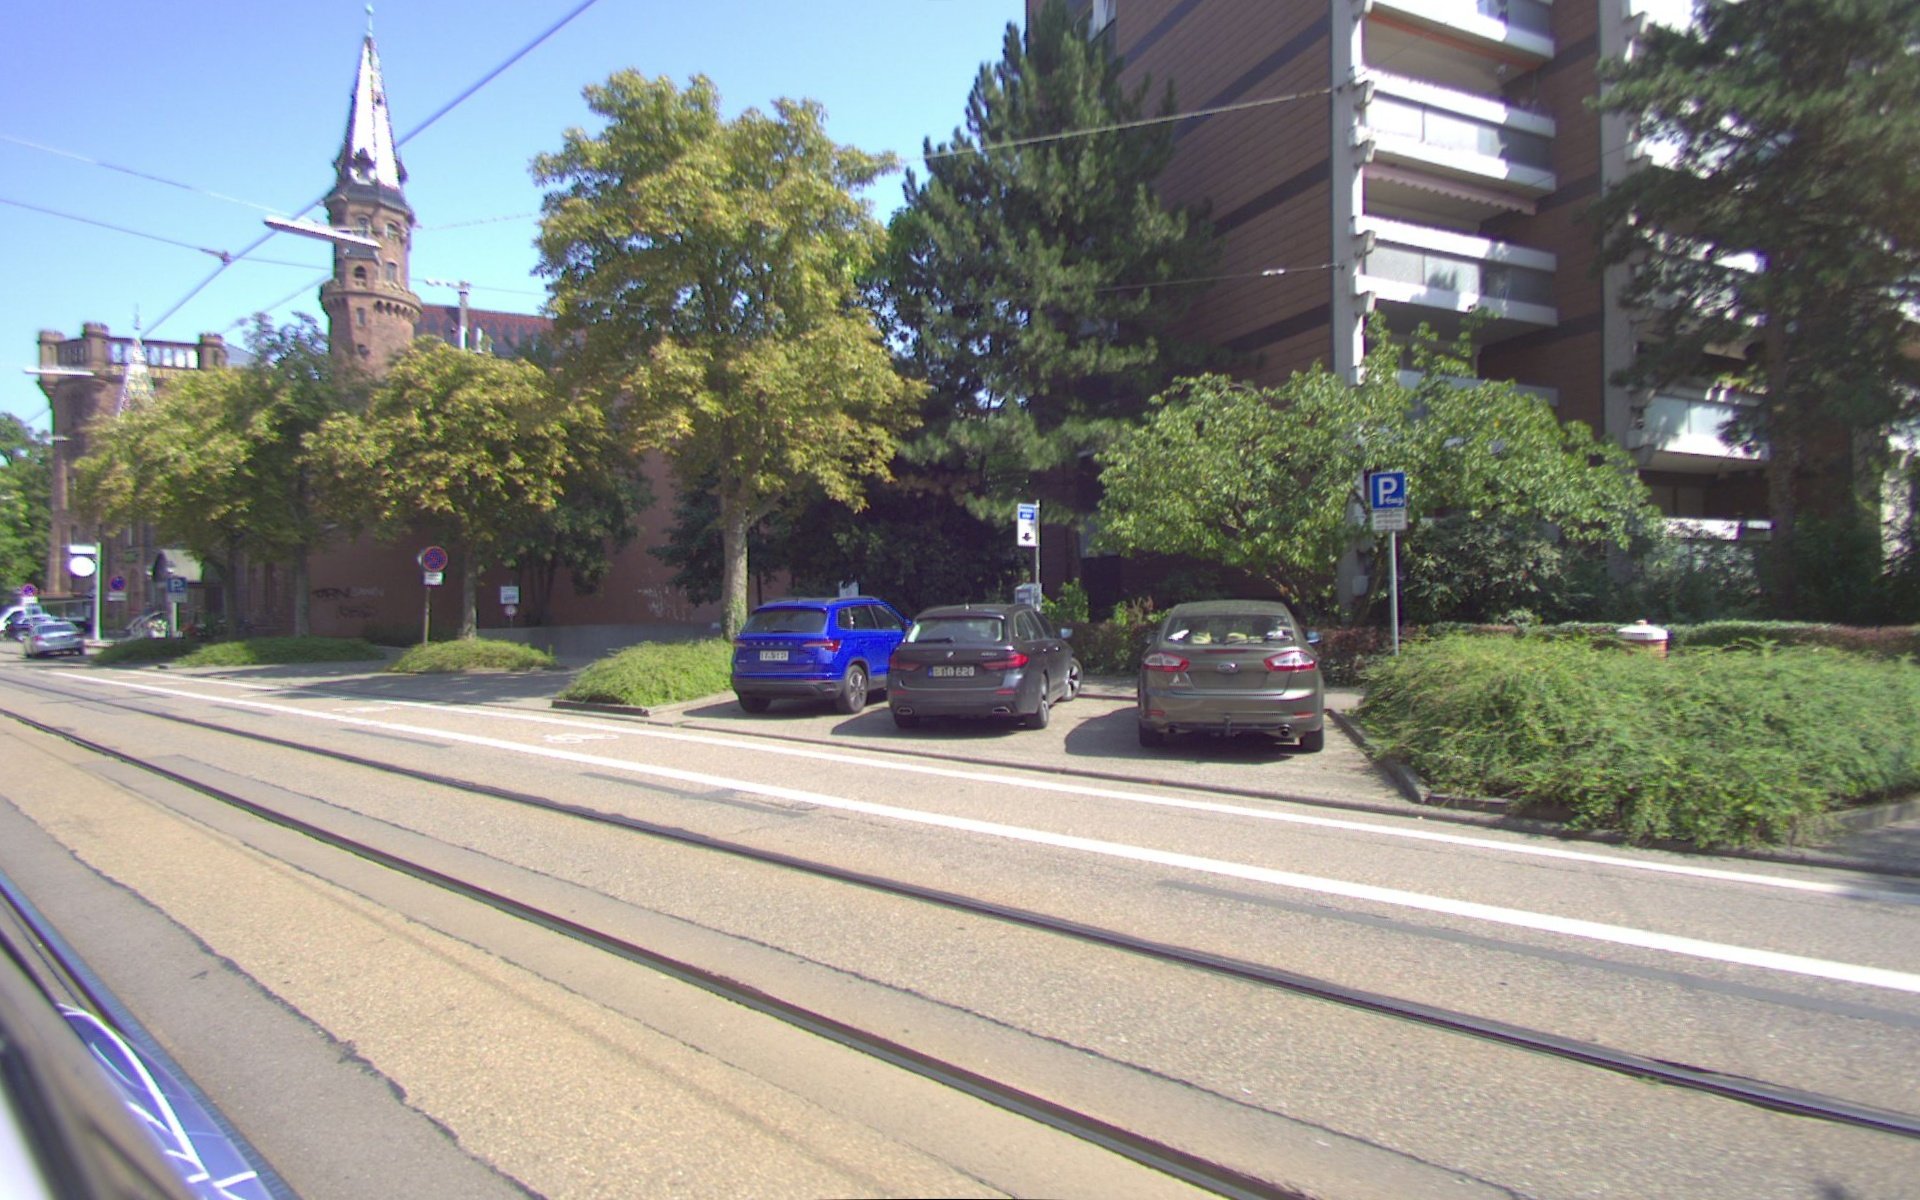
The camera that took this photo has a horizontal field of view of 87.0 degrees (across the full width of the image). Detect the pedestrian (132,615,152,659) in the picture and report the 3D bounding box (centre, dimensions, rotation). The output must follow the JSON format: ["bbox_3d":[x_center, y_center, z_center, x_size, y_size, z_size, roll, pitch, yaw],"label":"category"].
[{"bbox_3d":[-37.612,1.715,46.535,0.497,1.996,0.520,-1,0,-6],"label":"pedestrian"}]

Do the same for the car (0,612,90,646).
[{"bbox_3d":[-60.891,1.896,67.250,2.000,1.811,4.351,-2,3,42],"label":"car"}]

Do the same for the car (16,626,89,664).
[{"bbox_3d":[-39.117,1.900,43.587,4.513,1.513,1.914,-2,-1,43],"label":"car"}]

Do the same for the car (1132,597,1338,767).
[{"bbox_3d":[2.967,0.762,11.258,1.763,1.508,4.277,-2,-1,14],"label":"car"}]

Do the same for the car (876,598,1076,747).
[{"bbox_3d":[0.380,0.813,12.963,1.763,1.582,3.983,-2,-1,13],"label":"car"}]

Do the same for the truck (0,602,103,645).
[{"bbox_3d":[-65.171,1.673,71.626,2.316,2.543,6.430,-2,3,40],"label":"truck"}]

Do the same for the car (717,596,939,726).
[{"bbox_3d":[-1.803,0.820,15.182,1.826,1.660,3.978,-2,-1,17],"label":"car"}]

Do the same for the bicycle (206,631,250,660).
[{"bbox_3d":[-31.688,1.967,43.813,0.376,1.069,1.435,-2,4,30],"label":"bicycle"}]

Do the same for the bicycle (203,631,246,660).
[{"bbox_3d":[-31.954,1.975,43.978,0.376,1.069,1.435,-2,4,30],"label":"bicycle"}]
